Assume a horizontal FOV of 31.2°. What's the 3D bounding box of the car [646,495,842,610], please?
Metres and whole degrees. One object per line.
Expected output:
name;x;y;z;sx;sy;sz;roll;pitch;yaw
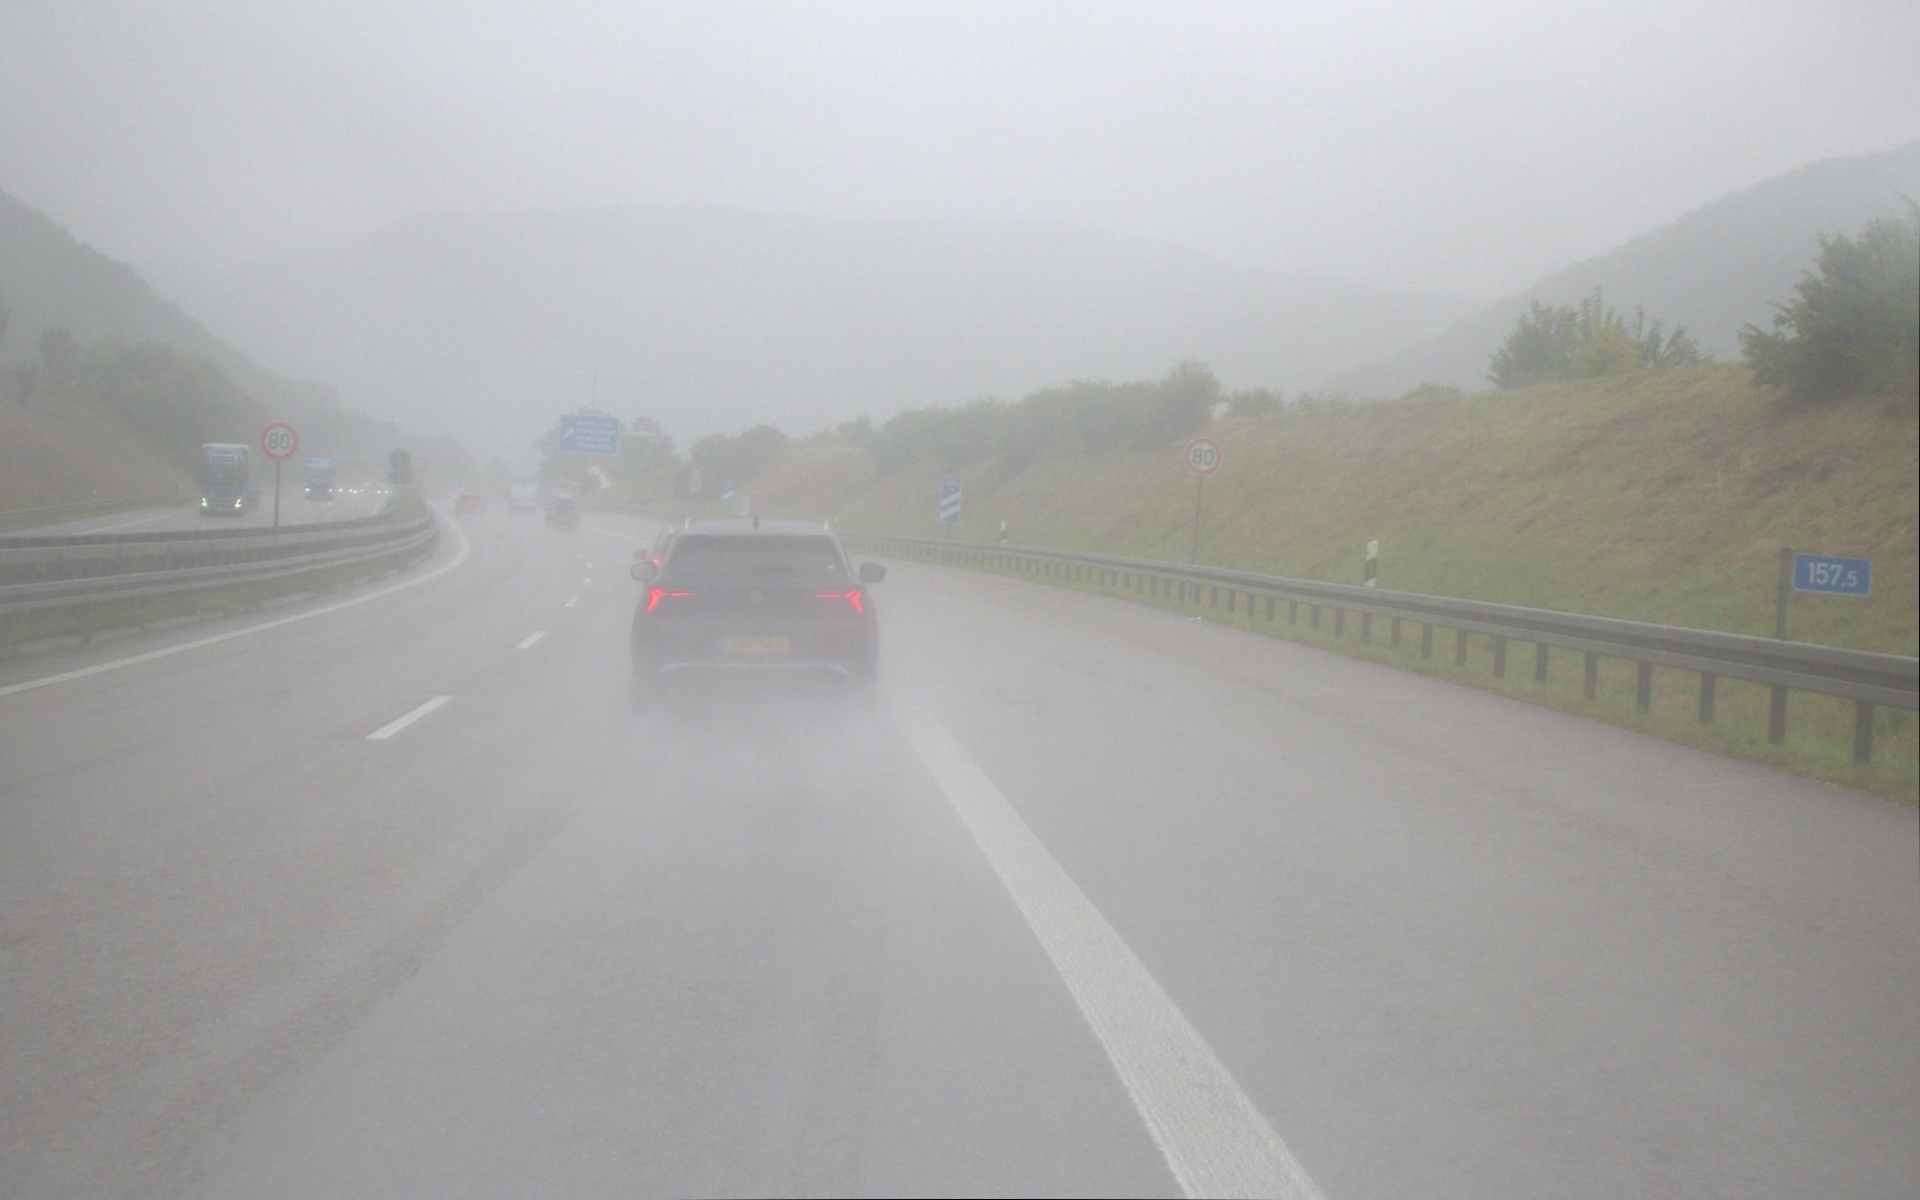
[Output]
car;-3.269;-0.688;50.813;2.665;1.510;5.719;2;0;-5

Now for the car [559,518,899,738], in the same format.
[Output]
car;-1.733;0.185;27.293;2.406;1.510;4.784;2;0;-2
